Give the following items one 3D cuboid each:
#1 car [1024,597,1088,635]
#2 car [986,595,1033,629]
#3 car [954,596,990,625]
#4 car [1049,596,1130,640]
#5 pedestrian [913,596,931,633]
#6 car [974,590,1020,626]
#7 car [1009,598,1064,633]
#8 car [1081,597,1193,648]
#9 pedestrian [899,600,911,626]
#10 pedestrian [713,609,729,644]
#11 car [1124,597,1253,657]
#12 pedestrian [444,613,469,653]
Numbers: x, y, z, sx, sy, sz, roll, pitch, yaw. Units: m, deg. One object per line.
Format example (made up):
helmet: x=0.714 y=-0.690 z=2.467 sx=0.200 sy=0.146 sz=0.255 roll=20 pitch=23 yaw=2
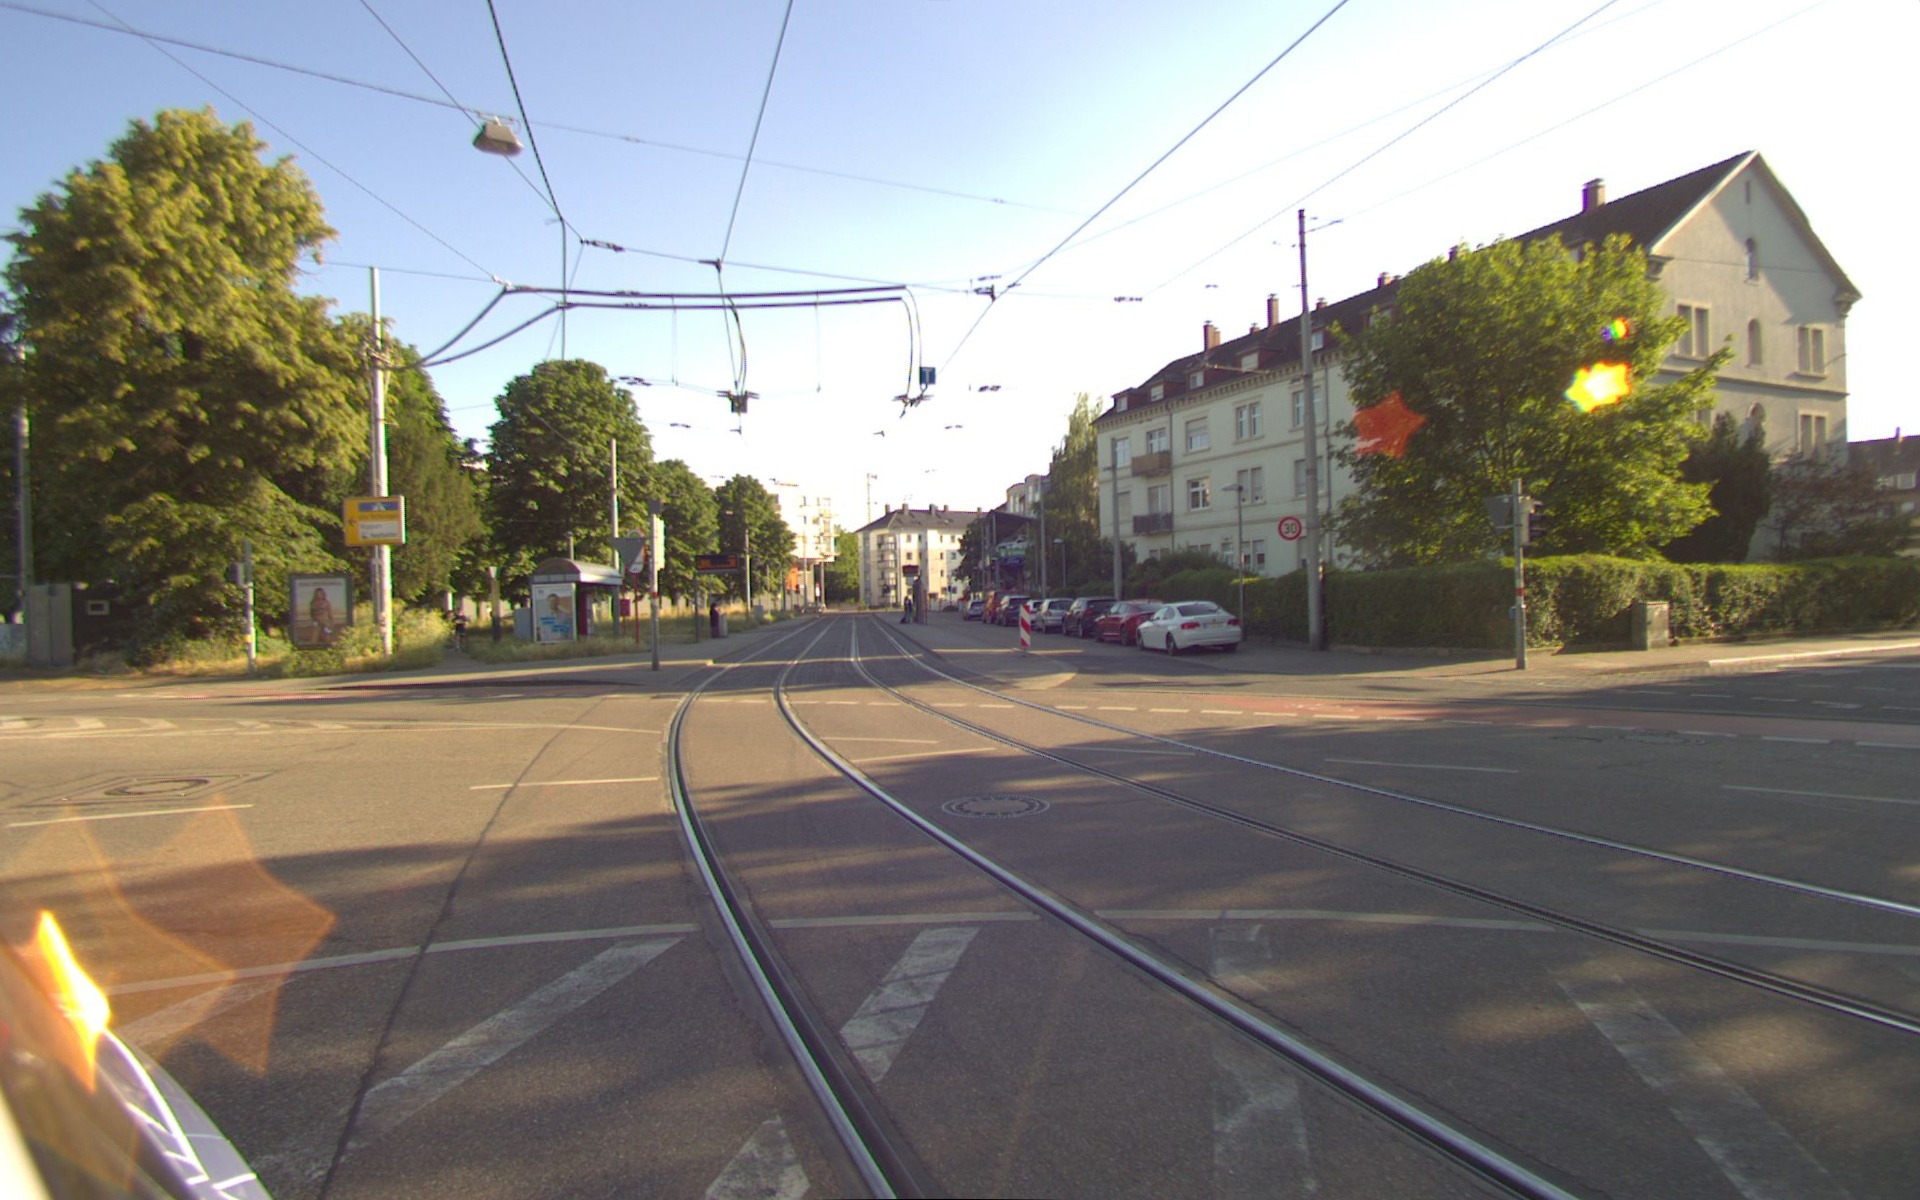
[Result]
car: x=4.056 y=0.653 z=43.354 sx=1.956 sy=1.458 sz=3.724 roll=-4 pitch=0 yaw=-6
car: x=2.671 y=0.646 z=55.671 sx=1.817 sy=1.680 sz=4.376 roll=-4 pitch=0 yaw=-6
car: x=0.880 y=0.736 z=76.403 sx=2.025 sy=1.976 sz=5.158 roll=-4 pitch=0 yaw=-6
car: x=4.874 y=0.630 z=38.829 sx=1.956 sy=1.458 sz=4.712 roll=-4 pitch=0 yaw=-6
pedestrian: x=-2.136 y=0.817 z=56.933 sx=0.911 sy=2.029 sz=0.769 roll=-2 pitch=-1 yaw=-1
car: x=2.210 y=0.485 z=62.118 sx=2.025 sy=1.976 sz=5.158 roll=-4 pitch=0 yaw=-6
car: x=3.558 y=0.692 z=47.952 sx=1.817 sy=1.458 sz=3.964 roll=-4 pitch=0 yaw=-6
car: x=5.615 y=0.683 z=32.826 sx=1.955 sy=1.386 sz=4.716 roll=-4 pitch=0 yaw=-11
pedestrian: x=-3.226 y=0.761 z=59.274 sx=0.561 sy=1.512 sz=0.677 roll=-2 pitch=0 yaw=6
pedestrian: x=-9.993 y=1.104 z=42.310 sx=0.588 sy=1.438 sz=0.507 roll=-1 pitch=0 yaw=-13
car: x=6.098 y=0.672 z=27.630 sx=1.900 sy=1.386 sz=4.505 roll=-4 pitch=0 yaw=-8
pedestrian: x=-19.097 y=1.239 z=38.382 sx=0.660 sy=1.504 sz=0.851 roll=-1 pitch=-1 yaw=-39
